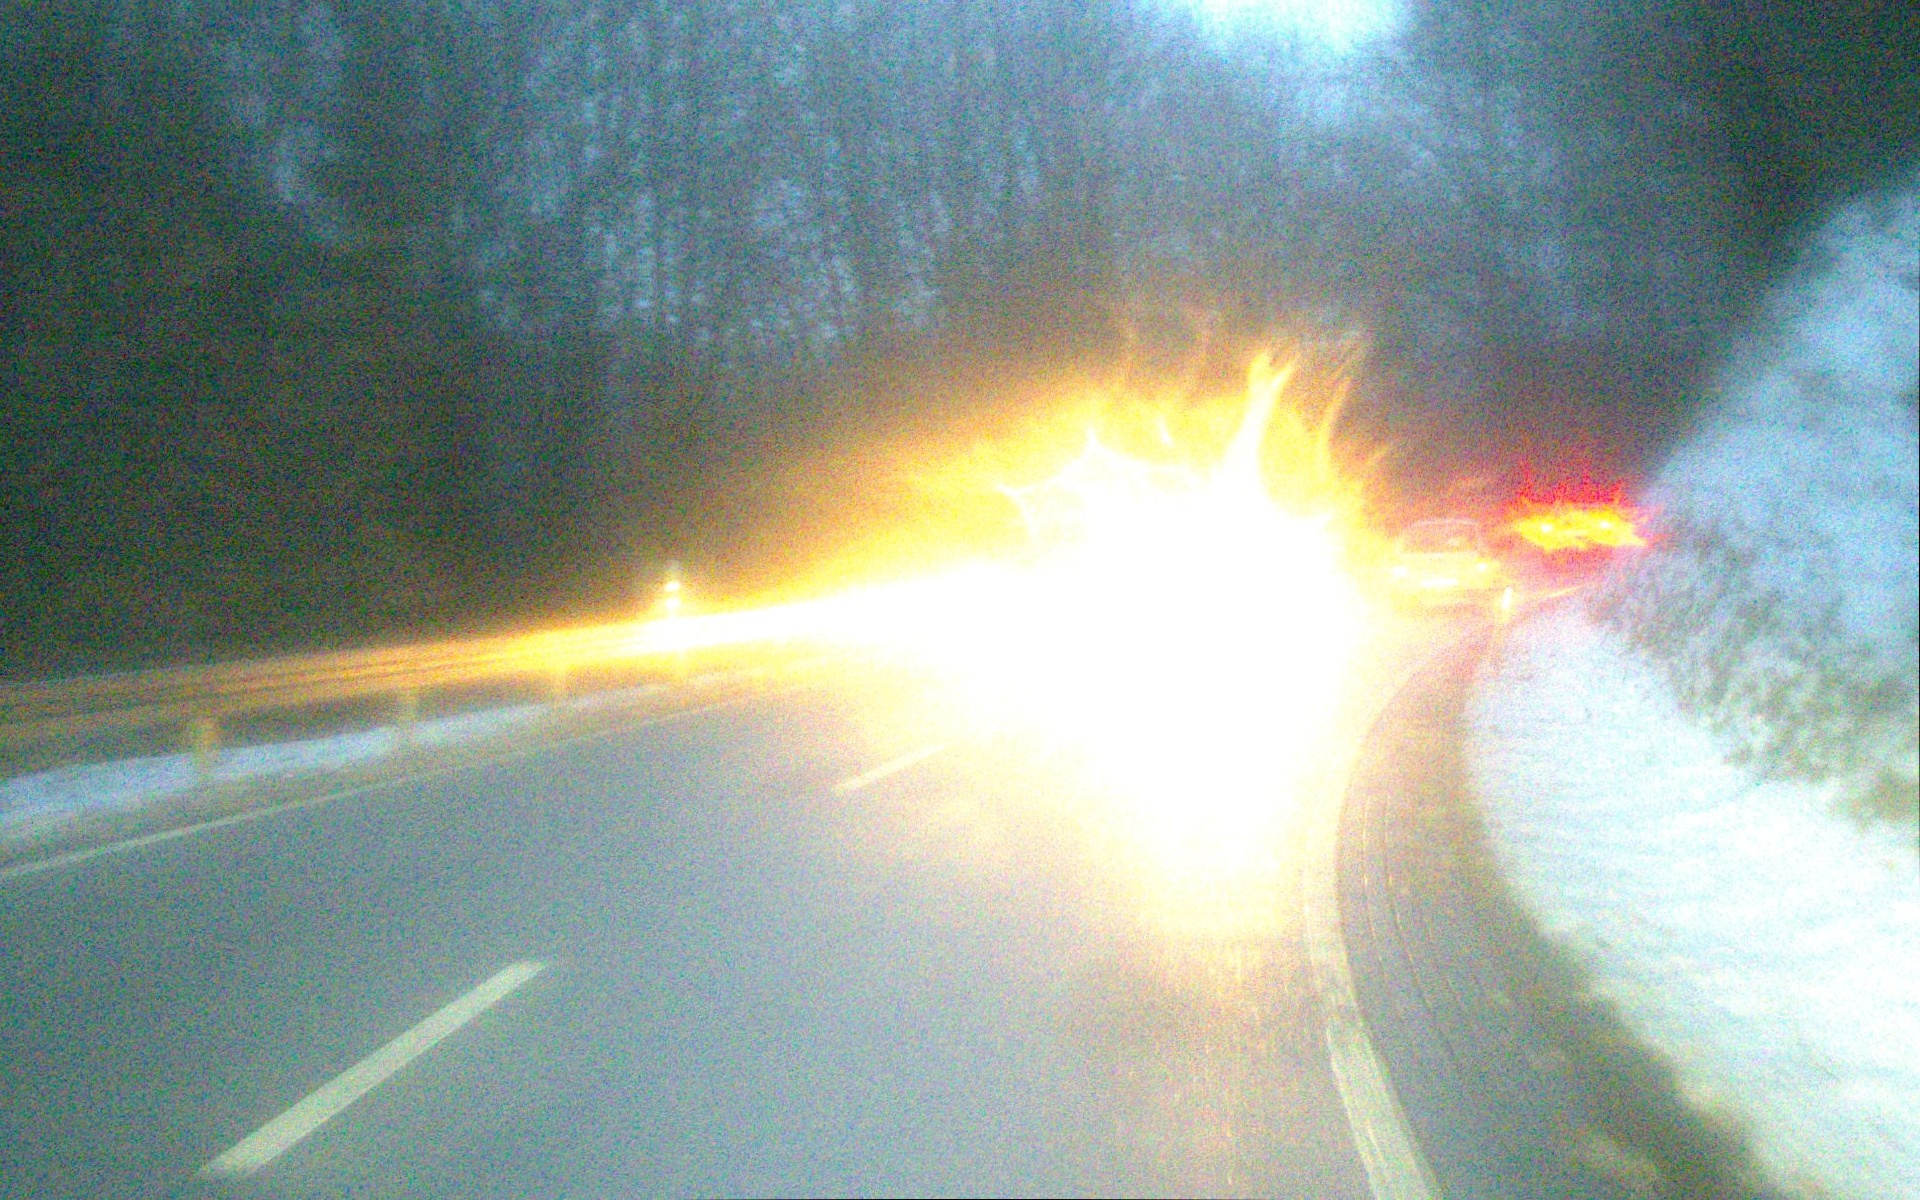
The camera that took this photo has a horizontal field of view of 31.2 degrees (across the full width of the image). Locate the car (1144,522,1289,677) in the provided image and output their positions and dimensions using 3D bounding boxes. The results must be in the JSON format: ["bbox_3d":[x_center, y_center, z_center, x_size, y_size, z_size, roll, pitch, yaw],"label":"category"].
[{"bbox_3d":[3.973,0.029,52.696,2.059,2.144,3.998,1,-3,6],"label":"car"}]

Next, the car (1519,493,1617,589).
[{"bbox_3d":[13.816,-1.314,77.985,1.869,1.912,3.997,2,-1,14],"label":"car"}]

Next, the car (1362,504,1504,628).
[{"bbox_3d":[7.447,-0.497,53.879,1.994,1.866,3.998,0,0,11],"label":"car"}]
